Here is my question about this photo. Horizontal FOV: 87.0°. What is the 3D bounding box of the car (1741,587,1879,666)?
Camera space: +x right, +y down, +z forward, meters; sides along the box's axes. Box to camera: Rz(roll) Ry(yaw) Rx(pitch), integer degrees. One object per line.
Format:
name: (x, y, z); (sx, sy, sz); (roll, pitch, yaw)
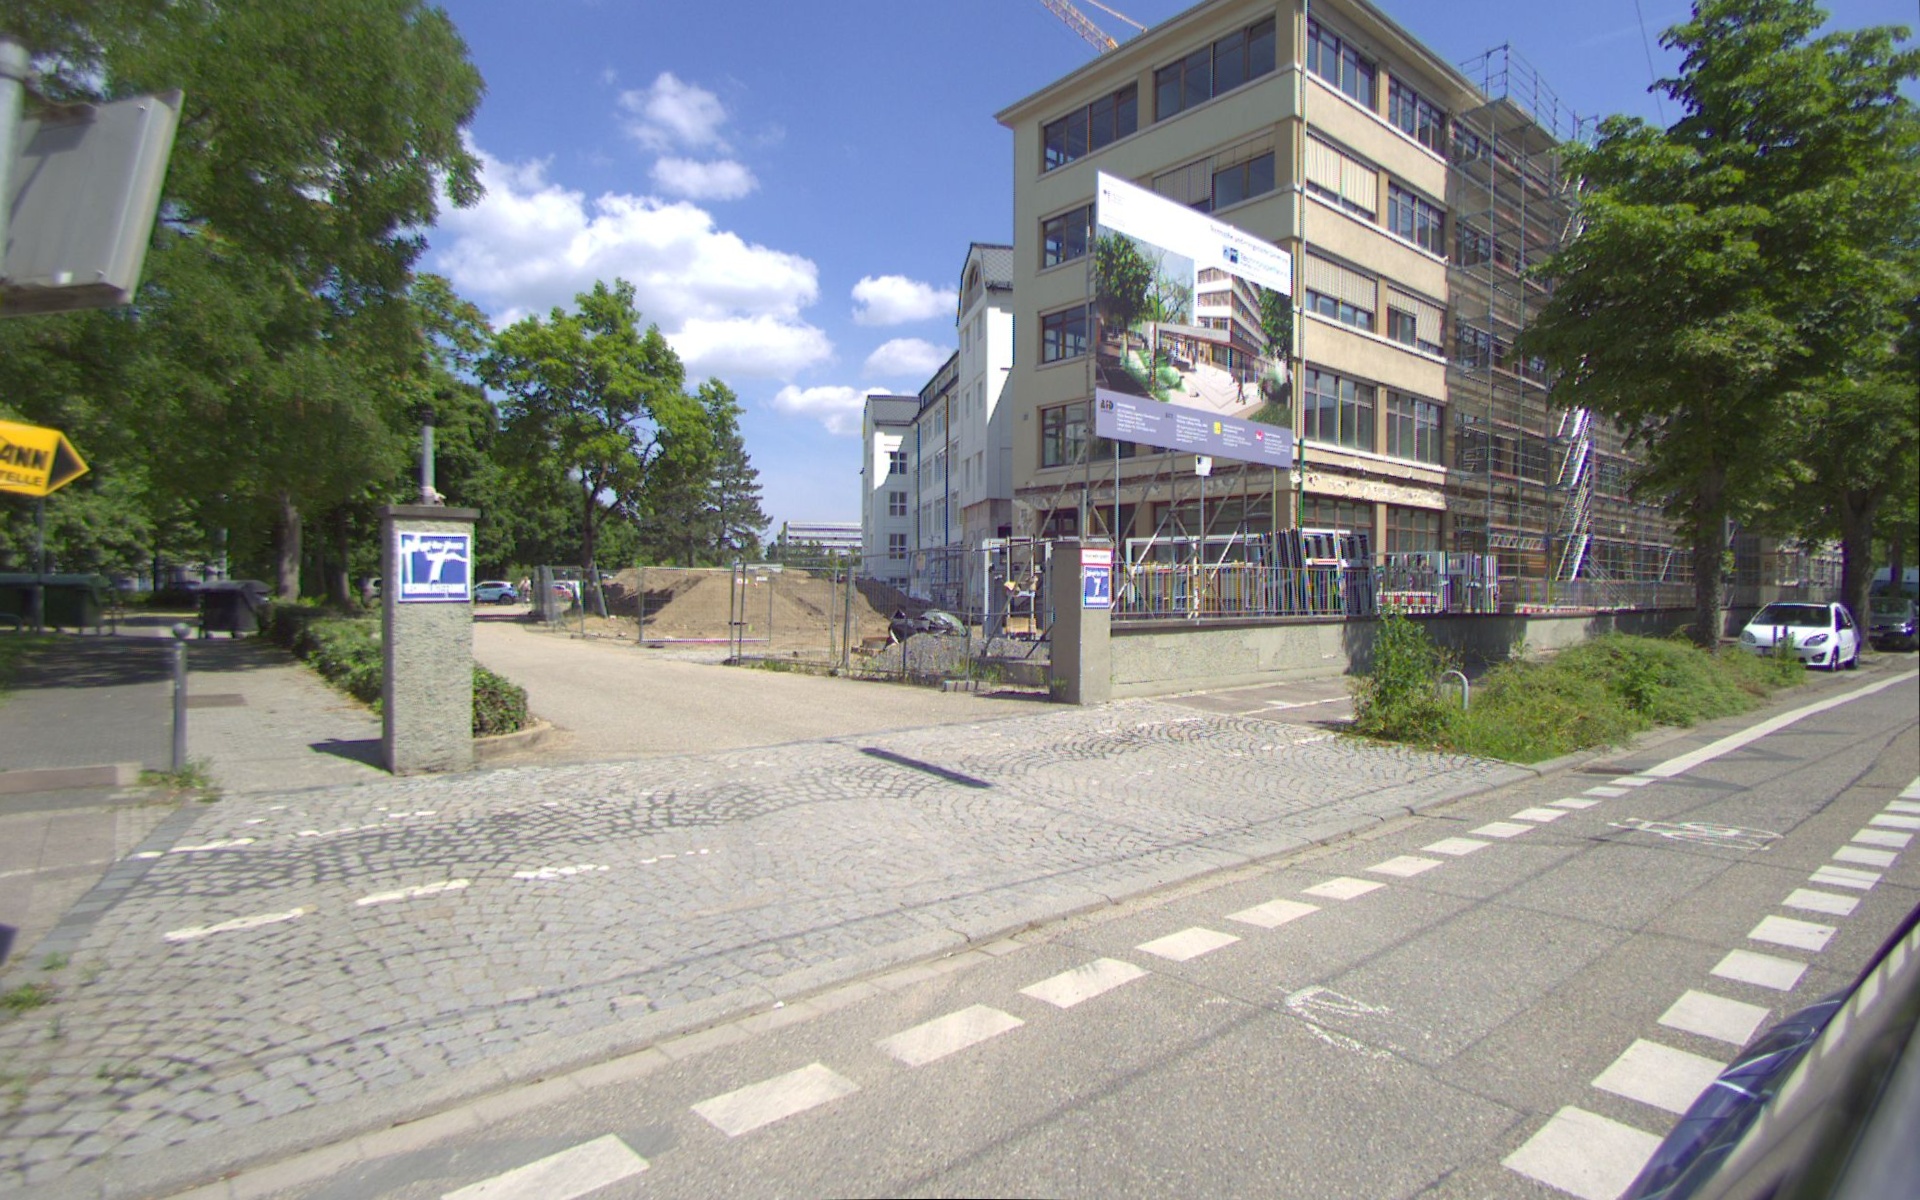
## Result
car: (18.326, 0.511, 21.770); (3.717, 1.554, 1.648); (0, 0, -40)

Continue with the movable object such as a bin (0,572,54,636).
movable object such as a bin: (-22.651, 0.081, 23.961); (1.360, 1.481, 1.412); (0, 1, -19)

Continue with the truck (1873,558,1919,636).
truck: (33.019, -0.099, 34.634); (5.853, 2.520, 2.017); (0, 0, -42)

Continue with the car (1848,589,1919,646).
car: (27.225, 0.474, 29.437); (3.878, 1.554, 1.647); (0, 0, -41)

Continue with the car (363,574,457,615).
car: (-28.371, -0.276, 52.333); (3.916, 2.039, 2.003); (0, -1, -14)

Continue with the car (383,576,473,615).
car: (-28.659, -0.231, 54.666); (3.916, 2.039, 2.003); (0, -1, -14)

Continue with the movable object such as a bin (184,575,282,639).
movable object such as a bin: (-17.648, 0.152, 24.601); (1.366, 1.481, 1.405); (1, 1, 8)

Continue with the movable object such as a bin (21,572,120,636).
movable object such as a bin: (-21.286, 0.079, 24.270); (1.360, 1.481, 1.411); (0, 1, -20)
